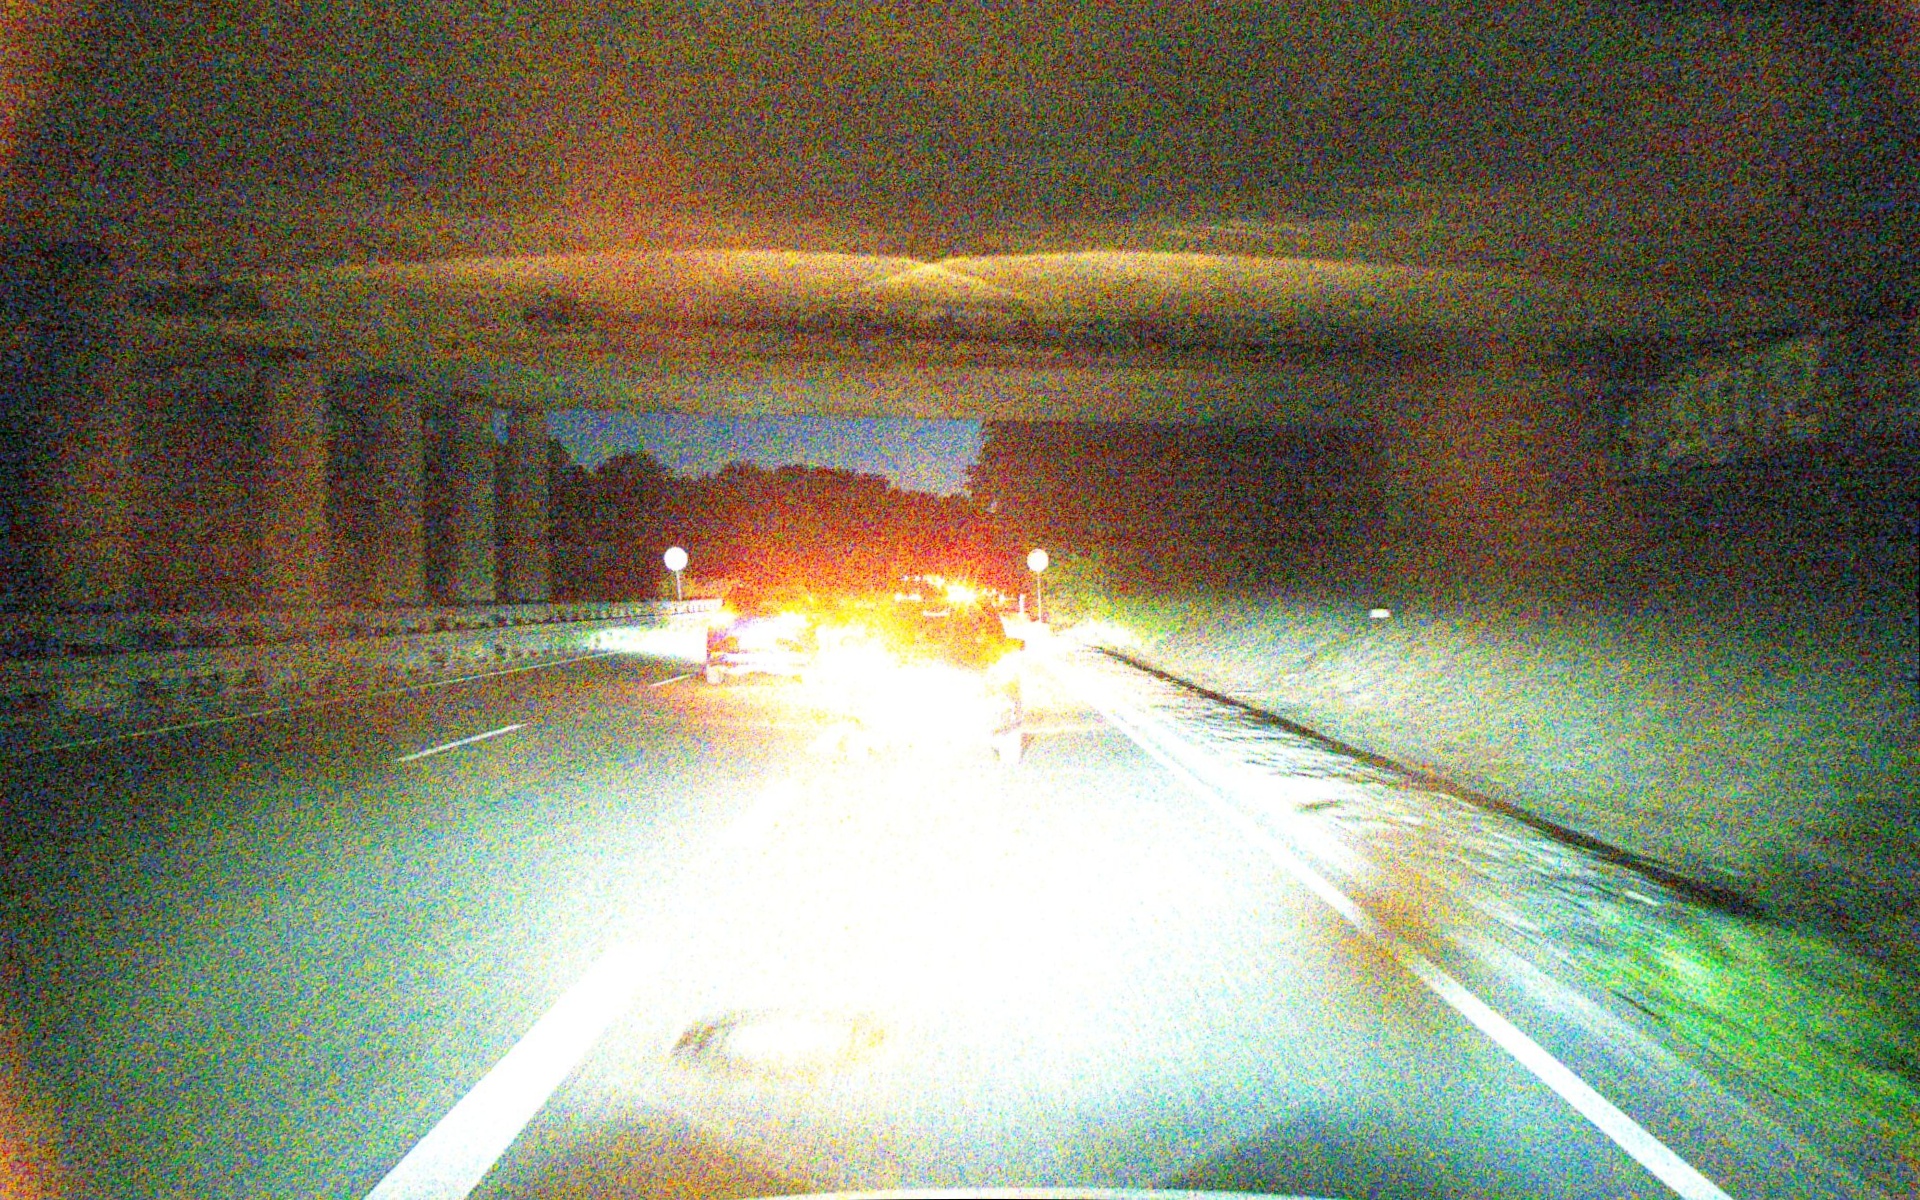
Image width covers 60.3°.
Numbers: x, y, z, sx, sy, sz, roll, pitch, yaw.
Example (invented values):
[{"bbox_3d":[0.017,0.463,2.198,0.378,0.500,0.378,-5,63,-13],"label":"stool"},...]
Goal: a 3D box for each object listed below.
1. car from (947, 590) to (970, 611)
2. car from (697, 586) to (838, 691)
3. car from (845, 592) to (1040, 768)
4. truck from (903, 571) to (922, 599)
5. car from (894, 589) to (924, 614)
[{"bbox_3d":[-0.115,0.027,131.826,1.698,1.646,3.797,1,0,-1],"label":"car"},{"bbox_3d":[-3.252,0.598,28.759,1.900,1.636,4.643,1,0,0],"label":"car"},{"bbox_3d":[-0.284,0.697,16.352,1.658,1.503,3.996,1,0,-4],"label":"car"},{"bbox_3d":[-7.399,-2.347,258.862,2.621,4.250,5.870,0,0,2],"label":"truck"},{"bbox_3d":[-3.547,0.116,115.013,1.912,1.565,4.240,-4,-1,-1],"label":"car"}]
